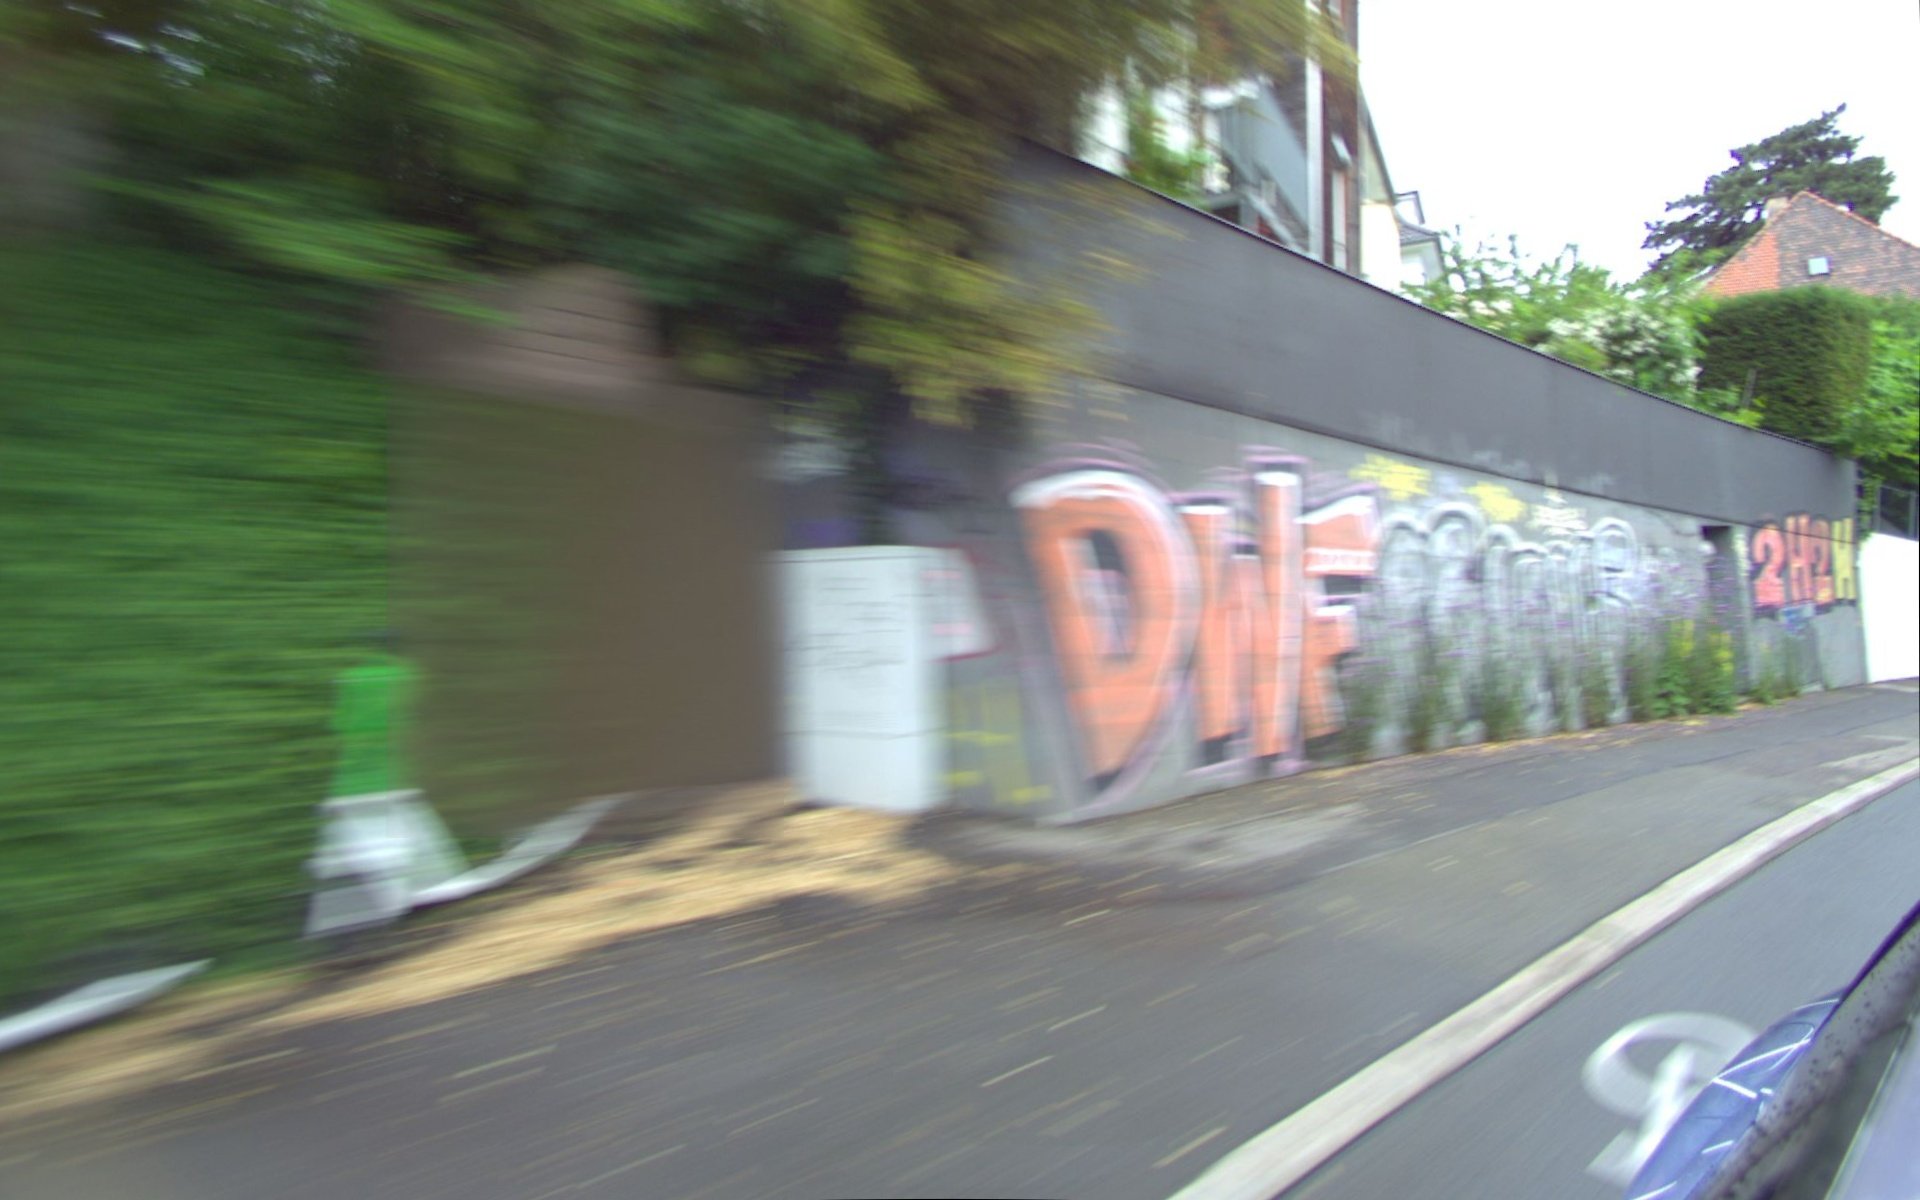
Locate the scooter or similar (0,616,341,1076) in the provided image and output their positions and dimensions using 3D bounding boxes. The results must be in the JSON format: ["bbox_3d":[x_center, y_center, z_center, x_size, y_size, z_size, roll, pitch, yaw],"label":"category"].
[{"bbox_3d":[-2.522,0.642,2.784,0.344,1.131,1.409,4,2,27],"label":"scooter or similar"}]

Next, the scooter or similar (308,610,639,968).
[{"bbox_3d":[-1.872,0.642,4.112,0.342,1.131,1.416,-1,2,16],"label":"scooter or similar"}]
